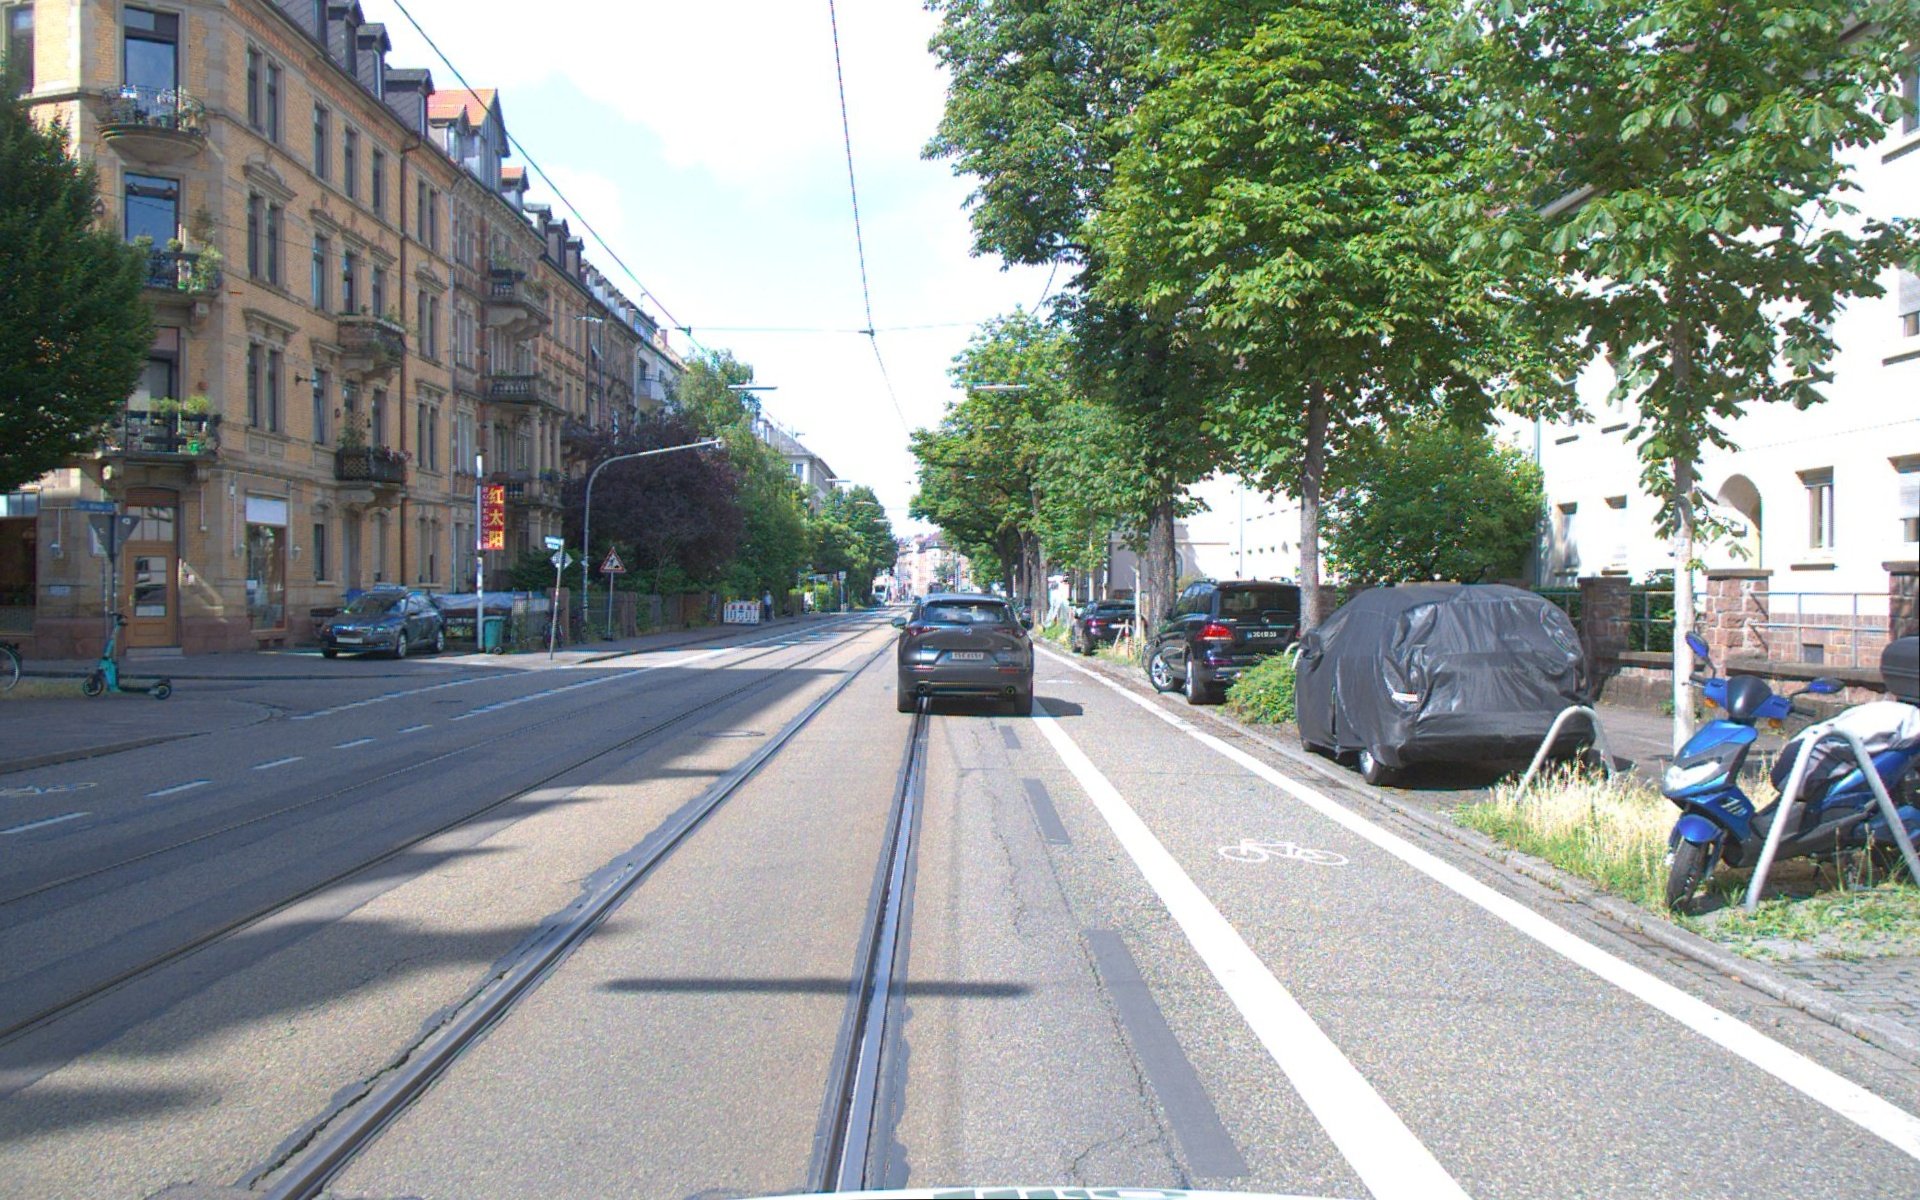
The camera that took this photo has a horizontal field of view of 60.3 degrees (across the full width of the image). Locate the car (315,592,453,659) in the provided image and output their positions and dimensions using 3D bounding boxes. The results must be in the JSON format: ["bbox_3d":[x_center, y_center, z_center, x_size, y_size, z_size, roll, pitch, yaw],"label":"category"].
[{"bbox_3d":[-13.607,0.571,39.363,1.651,1.485,4.764,0,0,-1],"label":"car"}]

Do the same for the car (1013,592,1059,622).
[{"bbox_3d":[3.773,0.354,83.239,1.810,1.434,4.391,-2,0,-4],"label":"car"}]

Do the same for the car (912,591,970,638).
[{"bbox_3d":[-0.698,0.519,59.634,1.953,1.555,3.999,2,0,-1],"label":"car"}]

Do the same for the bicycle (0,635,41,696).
[{"bbox_3d":[-14.073,0.956,23.768,0.512,0.852,1.699,0,1,12],"label":"bicycle"}]

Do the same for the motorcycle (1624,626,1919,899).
[{"bbox_3d":[4.653,0.828,8.799,1.967,1.360,0.747,0,0,-5],"label":"motorcycle"}]

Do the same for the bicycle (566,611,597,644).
[{"bbox_3d":[-11.383,0.826,49.801,0.519,0.963,1.967,0,0,-1],"label":"bicycle"}]

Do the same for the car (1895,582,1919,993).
[{"bbox_3d":[4.648,0.720,4.493,1.707,1.608,4.247,-1,0,-2],"label":"car"}]

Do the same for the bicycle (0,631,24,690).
[{"bbox_3d":[-14.605,0.912,24.260,0.512,0.852,1.699,0,1,12],"label":"bicycle"}]

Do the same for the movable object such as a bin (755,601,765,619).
[{"bbox_3d":[-12.567,0.649,103.992,0.526,1.113,0.790,0,0,4],"label":"movable object such as a bin"}]

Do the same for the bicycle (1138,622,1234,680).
[{"bbox_3d":[4.134,0.921,30.306,1.673,1.024,0.638,0,0,-1],"label":"bicycle"}]

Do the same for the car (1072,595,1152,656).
[{"bbox_3d":[4.062,0.651,44.725,1.671,1.505,4.196,2,0,-1],"label":"car"}]

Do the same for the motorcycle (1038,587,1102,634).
[{"bbox_3d":[3.998,0.356,60.437,2.341,1.625,0.676,2,1,38],"label":"motorcycle"}]

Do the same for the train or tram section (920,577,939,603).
[{"bbox_3d":[-4.795,-1.553,256.934,2.520,3.838,13.017,0,0,-3],"label":"train or tram section"}]

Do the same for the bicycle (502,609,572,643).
[{"bbox_3d":[-12.320,0.743,48.208,1.923,0.963,0.531,0,0,-6],"label":"bicycle"}]

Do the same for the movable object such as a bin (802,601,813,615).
[{"bbox_3d":[-12.048,0.628,130.729,0.730,1.005,1.114,2,0,-1],"label":"movable object such as a bin"}]

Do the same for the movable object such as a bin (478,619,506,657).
[{"bbox_3d":[-11.800,0.954,41.708,0.514,0.921,0.636,0,0,-2],"label":"movable object such as a bin"}]

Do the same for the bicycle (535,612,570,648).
[{"bbox_3d":[-11.319,0.814,46.027,0.519,0.963,1.967,0,0,-1],"label":"bicycle"}]

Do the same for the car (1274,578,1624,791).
[{"bbox_3d":[4.329,0.663,15.461,1.825,1.682,4.636,0,0,-1],"label":"car"}]

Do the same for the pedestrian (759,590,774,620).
[{"bbox_3d":[-11.197,0.272,95.515,0.806,1.736,0.891,0,0,-4],"label":"pedestrian"}]

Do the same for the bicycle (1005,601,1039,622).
[{"bbox_3d":[3.611,0.674,96.063,1.895,1.196,0.513,-1,-1,11],"label":"bicycle"}]

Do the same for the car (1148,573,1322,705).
[{"bbox_3d":[4.054,0.514,25.150,1.790,1.813,4.732,0,0,-1],"label":"car"}]

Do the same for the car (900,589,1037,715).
[{"bbox_3d":[0.076,0.639,22.216,1.686,1.553,3.589,0,0,-1],"label":"car"}]

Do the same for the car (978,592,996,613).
[{"bbox_3d":[2.556,0.248,158.894,1.685,2.003,4.207,0,0,0],"label":"car"}]

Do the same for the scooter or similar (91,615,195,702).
[{"bbox_3d":[-12.087,0.862,24.485,1.346,1.256,0.400,1,0,-30],"label":"scooter or similar"}]
